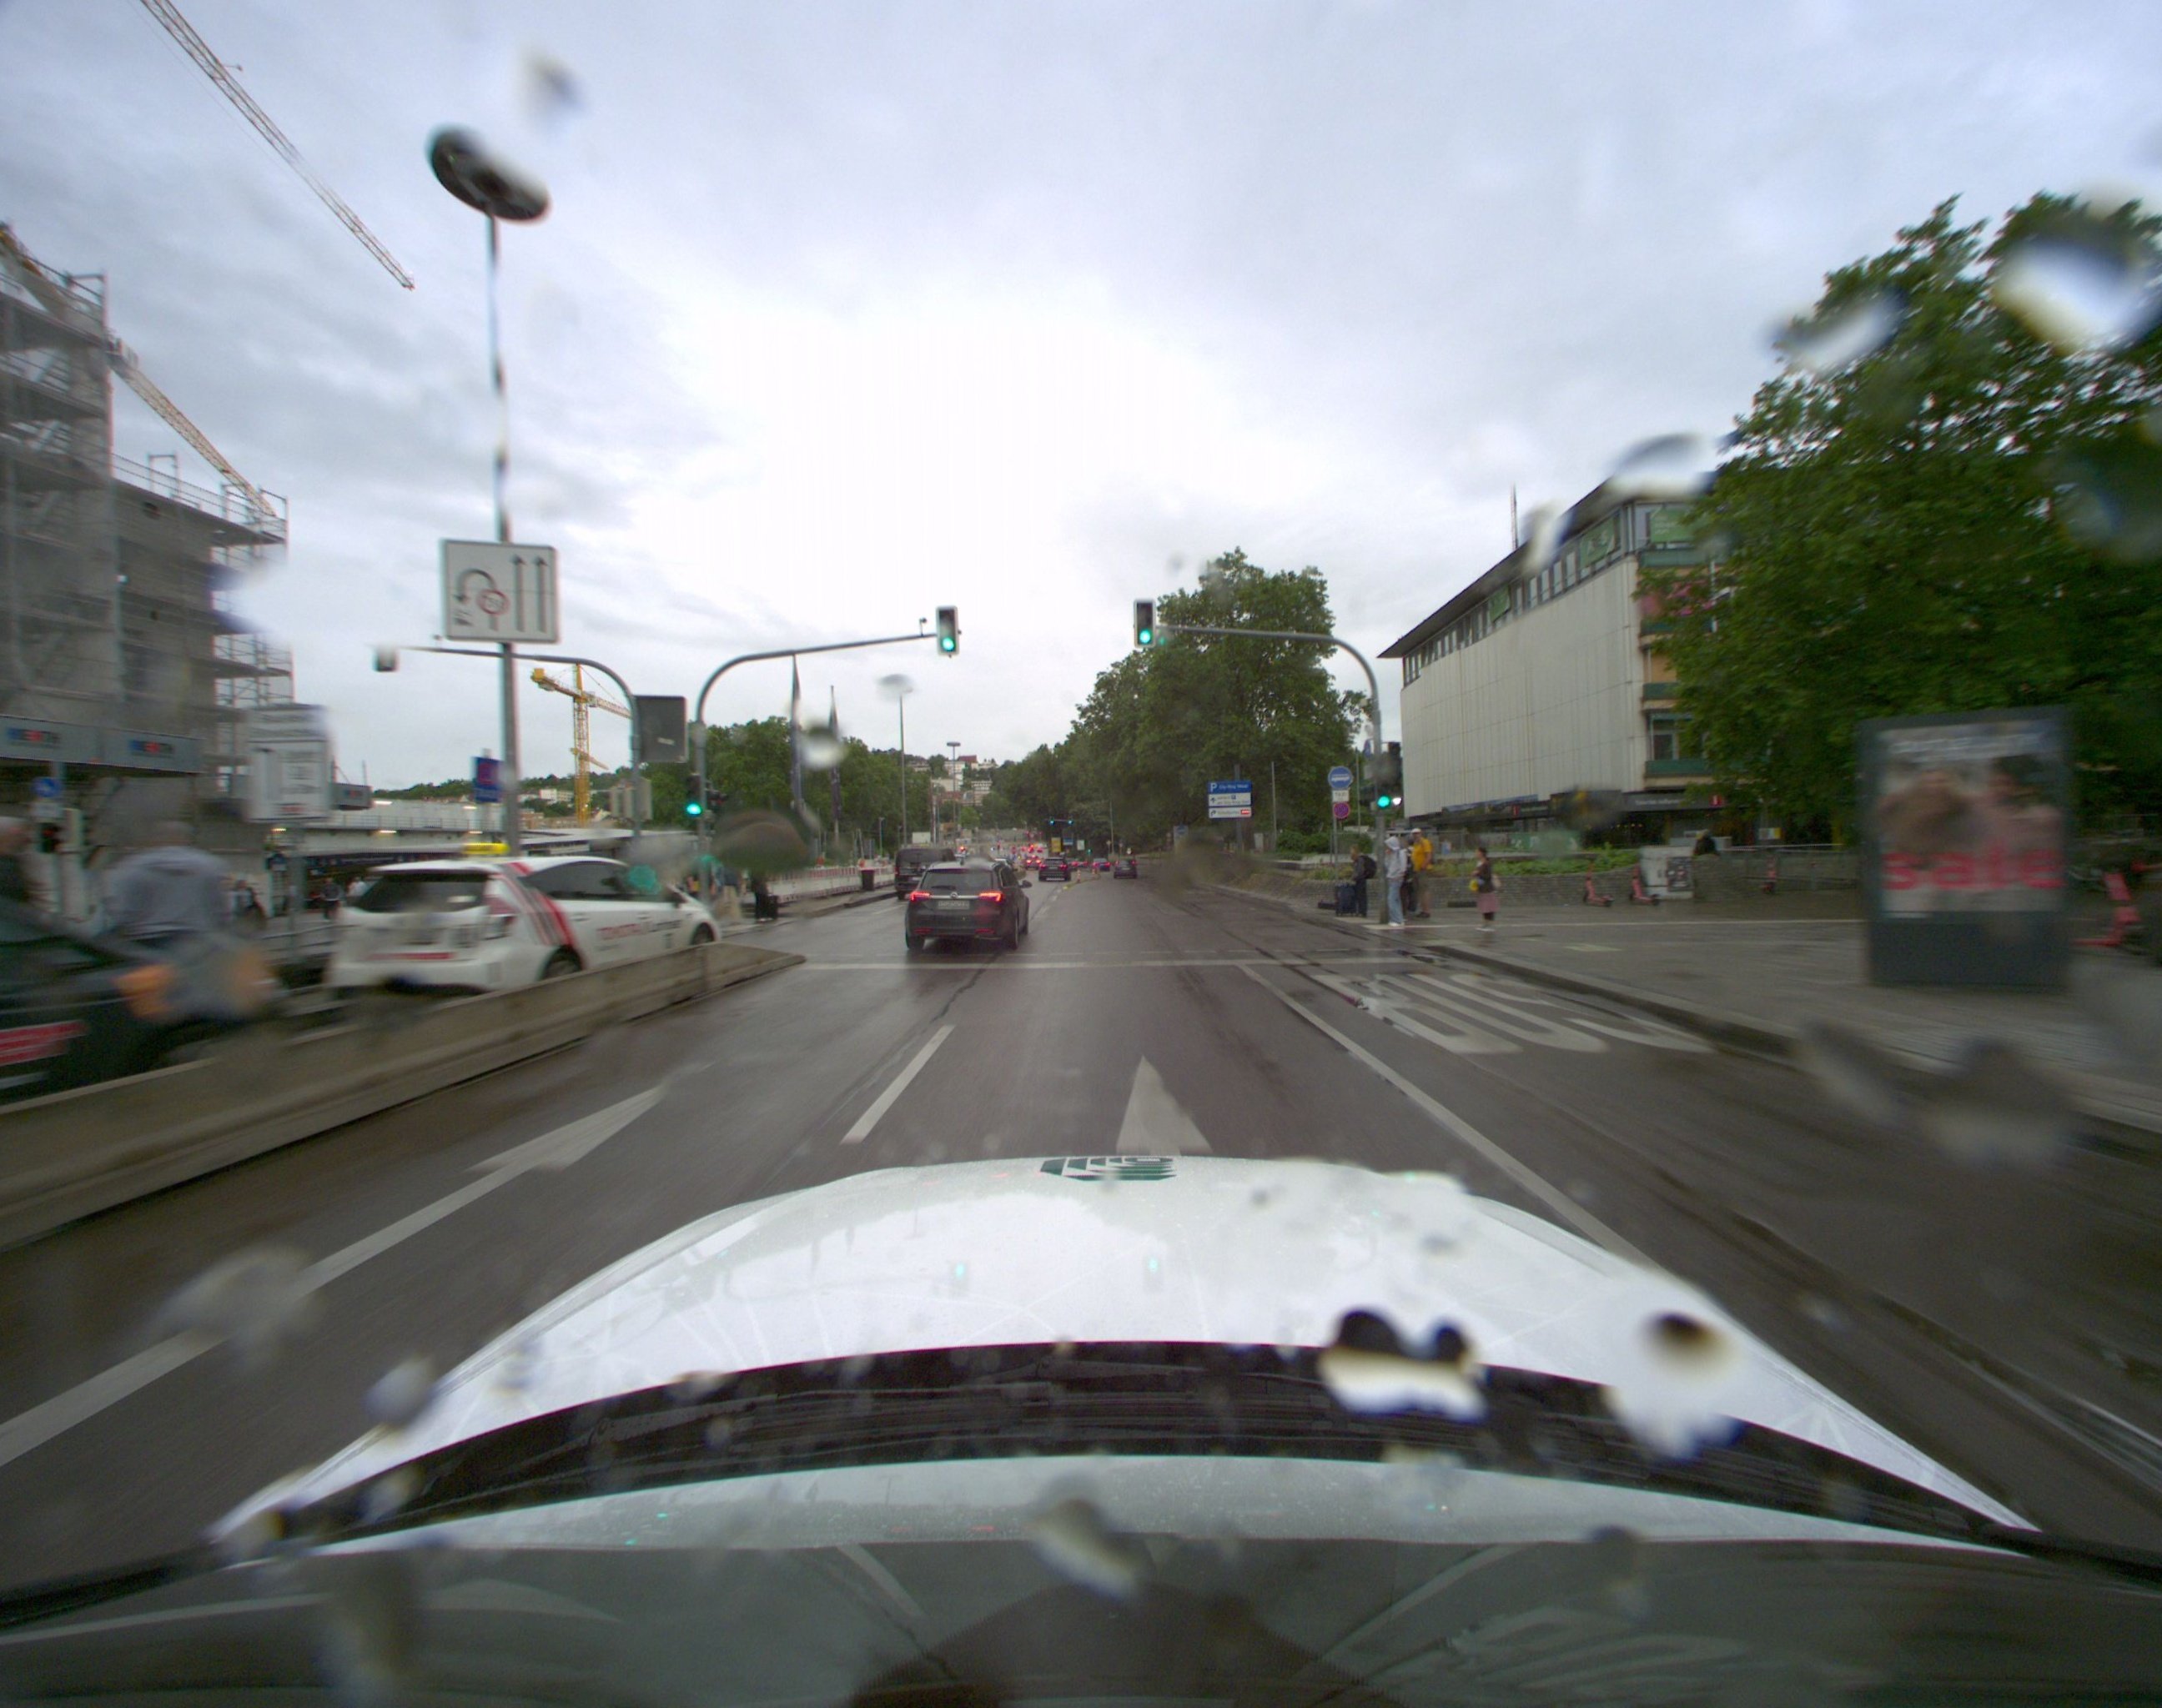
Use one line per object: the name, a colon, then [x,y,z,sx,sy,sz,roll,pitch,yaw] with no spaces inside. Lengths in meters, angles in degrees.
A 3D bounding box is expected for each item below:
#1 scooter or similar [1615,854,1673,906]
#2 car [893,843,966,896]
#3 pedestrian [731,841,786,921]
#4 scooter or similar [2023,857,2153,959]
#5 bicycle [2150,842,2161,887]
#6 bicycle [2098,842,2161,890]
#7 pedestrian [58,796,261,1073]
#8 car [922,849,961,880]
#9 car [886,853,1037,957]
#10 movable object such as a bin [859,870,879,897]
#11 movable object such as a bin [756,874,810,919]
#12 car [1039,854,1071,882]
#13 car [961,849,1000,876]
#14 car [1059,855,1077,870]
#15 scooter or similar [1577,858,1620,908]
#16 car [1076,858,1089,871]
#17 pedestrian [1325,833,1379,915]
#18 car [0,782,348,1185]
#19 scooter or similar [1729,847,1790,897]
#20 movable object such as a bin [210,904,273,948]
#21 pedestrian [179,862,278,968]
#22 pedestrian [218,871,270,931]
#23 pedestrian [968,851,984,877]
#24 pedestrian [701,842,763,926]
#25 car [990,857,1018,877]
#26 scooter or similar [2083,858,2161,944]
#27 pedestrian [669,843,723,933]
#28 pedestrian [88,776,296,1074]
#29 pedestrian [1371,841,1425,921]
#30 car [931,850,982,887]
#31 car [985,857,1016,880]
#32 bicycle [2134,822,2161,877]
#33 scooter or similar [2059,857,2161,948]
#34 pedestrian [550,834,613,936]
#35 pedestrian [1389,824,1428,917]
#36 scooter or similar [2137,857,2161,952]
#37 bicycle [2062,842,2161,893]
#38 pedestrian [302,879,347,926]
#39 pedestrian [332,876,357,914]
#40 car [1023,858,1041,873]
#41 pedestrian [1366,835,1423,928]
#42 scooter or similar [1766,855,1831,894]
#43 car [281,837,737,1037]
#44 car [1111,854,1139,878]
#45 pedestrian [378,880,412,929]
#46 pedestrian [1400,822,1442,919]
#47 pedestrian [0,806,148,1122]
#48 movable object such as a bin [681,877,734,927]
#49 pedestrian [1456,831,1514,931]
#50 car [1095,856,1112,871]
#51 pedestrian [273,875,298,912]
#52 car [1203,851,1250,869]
scooter or similar: [14.122,0.640,20.460,0.372,1.259,1.311,0,-1,-10]
car: [-5.683,0.593,31.204,1.988,1.845,5.059,0,-1,-2]
pedestrian: [-7.772,0.648,19.647,0.995,1.886,0.687,-2,-1,24]
scooter or similar: [12.908,0.667,10.474,0.323,1.237,1.100,0,-1,3]
bicycle: [26.323,0.245,18.871,0.612,1.102,2.030,-3,-1,10]
bicycle: [25.448,0.273,19.201,0.612,1.102,2.030,-3,-1,10]
pedestrian: [-7.422,0.590,6.588,0.825,2.014,1.034,-2,-1,40]
car: [-9.517,0.741,56.047,1.989,2.014,5.364,0,-1,-3]
car: [-1.913,0.776,14.513,1.871,1.508,4.852,-1,-1,1]
movable object such as a bin: [-9.094,1.265,34.940,0.669,1.161,0.766,1,-1,-5]
movable object such as a bin: [-7.437,1.060,20.304,0.995,1.076,0.753,-2,-1,24]
car: [-1.602,0.854,51.376,1.824,1.686,4.134,-1,-1,1]
car: [-5.733,0.500,46.967,1.819,1.511,4.487,0,-1,-2]
car: [-1.467,0.954,93.668,1.897,1.717,4.000,0,-1,0]
scooter or similar: [12.952,0.703,20.419,0.350,1.217,1.158,0,-1,1]
car: [0.165,1.442,110.992,1.630,1.624,3.791,0,-1,-3]
pedestrian: [6.350,0.460,19.126,0.787,1.839,0.946,-1,-1,-12]
car: [-5.959,0.624,3.275,1.707,1.892,4.612,-2,-1,2]
scooter or similar: [18.402,0.486,22.120,0.409,1.332,1.311,0,-1,-10]
movable object such as a bin: [-20.360,1.735,19.756,0.756,0.970,0.721,-1,-1,0]
pedestrian: [-13.897,0.967,13.300,0.710,1.664,0.837,-1,-1,2]
pedestrian: [-27.349,1.525,26.622,0.825,1.881,1.034,-3,-2,33]
pedestrian: [-8.251,0.752,64.081,1.020,2.014,0.837,-1,-1,4]
pedestrian: [-8.117,0.692,18.960,0.995,1.886,0.822,-2,-1,24]
car: [-6.387,1.049,67.908,1.988,1.530,4.149,-3,-1,-2]
scooter or similar: [15.452,0.666,11.779,1.084,1.217,0.479,-1,-1,33]
pedestrian: [-8.331,0.720,17.648,0.829,1.886,0.689,-1,0,-8]
pedestrian: [-6.475,0.481,5.980,0.526,2.014,0.890,-1,0,0]
pedestrian: [6.901,0.575,17.768,0.871,1.691,0.758,-1,-1,2]
car: [-5.924,0.690,39.124,1.819,1.696,4.770,0,-1,-2]
car: [-6.137,1.096,62.747,1.988,1.567,4.872,-3,-1,-2]
bicycle: [30.525,-0.135,22.306,0.788,1.562,2.137,-1,0,10]
scooter or similar: [14.927,0.668,11.490,1.348,1.250,0.441,-1,-1,33]
pedestrian: [-8.769,0.539,14.320,0.581,1.735,0.757,-1,-1,2]
pedestrian: [7.805,0.389,19.428,0.703,2.146,0.724,-2,-1,12]
scooter or similar: [13.815,0.631,10.062,0.304,1.207,0.958,0,-1,3]
bicycle: [24.519,0.290,19.171,0.612,1.119,2.001,-3,-1,10]
pedestrian: [-27.933,1.773,30.082,0.825,1.663,1.034,-3,-2,32]
pedestrian: [-37.936,2.110,41.957,0.653,1.881,0.806,-3,-2,32]
car: [-6.194,1.446,102.627,1.992,1.827,3.989,0,-1,-8]
pedestrian: [6.249,0.538,16.271,0.746,1.805,0.706,-1,-1,-13]
scooter or similar: [19.700,0.553,22.386,0.476,1.035,1.311,-2,-1,-10]
car: [-5.943,0.740,9.380,1.779,1.685,4.669,-2,-1,2]
car: [3.143,0.858,58.648,1.845,1.717,4.000,0,-1,0]
pedestrian: [-27.485,2.014,32.639,0.708,1.881,0.865,-3,-2,32]
pedestrian: [7.684,0.363,18.422,0.554,2.146,0.665,-1,-1,-13]
pedestrian: [-7.193,0.704,5.575,0.619,2.014,0.836,-1,-1,1]
movable object such as a bin: [-8.451,1.082,18.436,0.736,1.076,0.753,-2,-1,24]
pedestrian: [7.499,0.493,15.138,0.542,1.805,0.751,-1,-1,-26]
car: [2.331,1.000,84.284,1.668,1.581,3.241,0,-1,2]
pedestrian: [-41.875,2.091,42.877,0.651,1.881,0.809,-3,-2,32]
car: [12.591,0.506,70.540,3.573,1.506,1.745,-1,-1,41]
